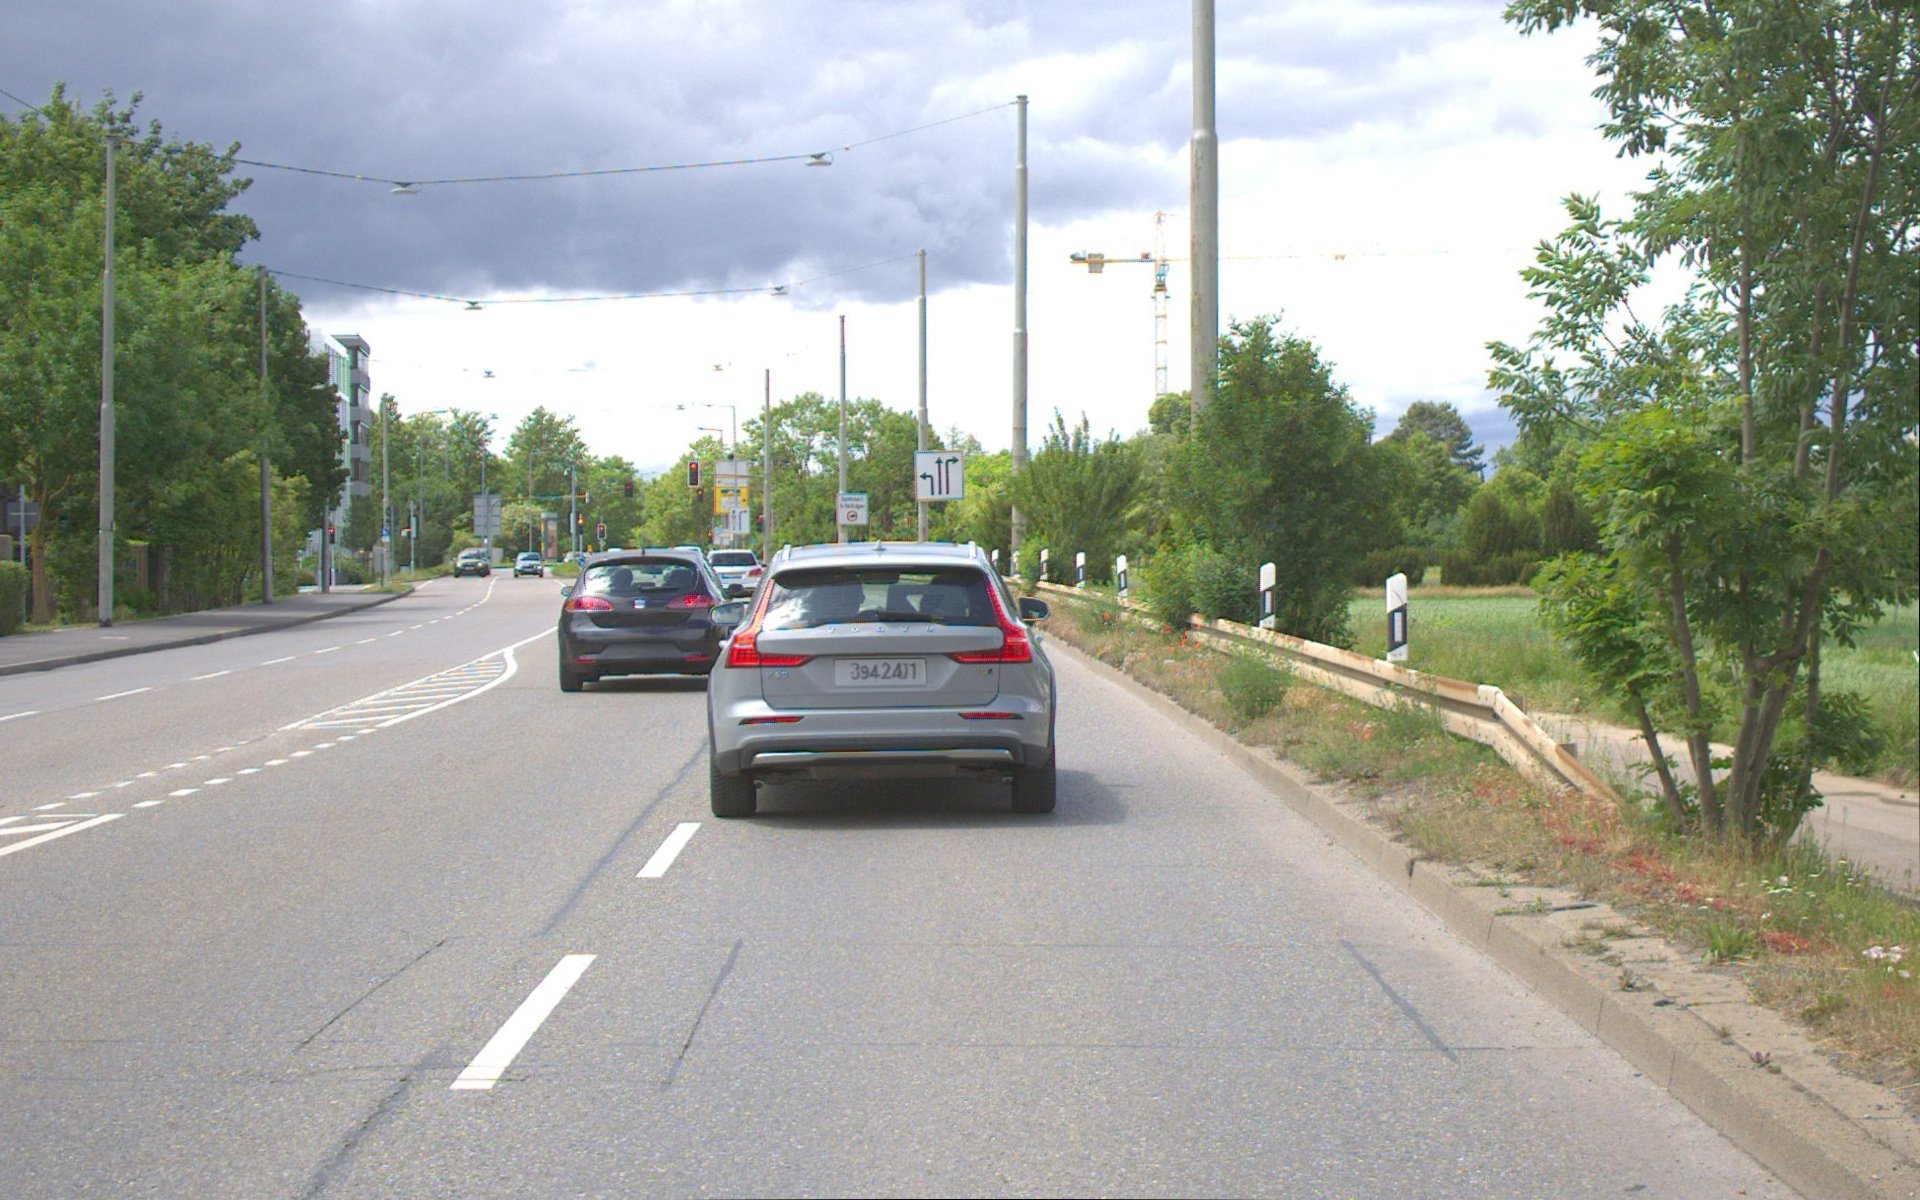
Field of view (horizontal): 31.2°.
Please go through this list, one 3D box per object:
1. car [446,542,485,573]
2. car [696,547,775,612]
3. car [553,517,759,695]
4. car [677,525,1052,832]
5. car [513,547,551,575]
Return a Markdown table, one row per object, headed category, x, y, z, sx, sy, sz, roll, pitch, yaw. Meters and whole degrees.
| category | x | y | z | sx | sy | sz | roll | pitch | yaw |
| --- | --- | --- | --- | --- | --- | --- | --- | --- | --- |
| car | -29.260 | -2.493 | 203.485 | 1.881 | 1.711 | 4.000 | 2 | 0 | -3 |
| car | -6.145 | -0.553 | 94.448 | 1.993 | 1.689 | 4.000 | 2 | 0 | -2 |
| car | -3.126 | 0.060 | 36.031 | 1.993 | 1.711 | 4.000 | 2 | 0 | -3 |
| car | -0.488 | 0.399 | 19.465 | 1.895 | 1.549 | 4.000 | 0 | 0 | 0 |
| car | -25.126 | -2.278 | 201.730 | 1.881 | 1.515 | 4.000 | 2 | 0 | -3 |
